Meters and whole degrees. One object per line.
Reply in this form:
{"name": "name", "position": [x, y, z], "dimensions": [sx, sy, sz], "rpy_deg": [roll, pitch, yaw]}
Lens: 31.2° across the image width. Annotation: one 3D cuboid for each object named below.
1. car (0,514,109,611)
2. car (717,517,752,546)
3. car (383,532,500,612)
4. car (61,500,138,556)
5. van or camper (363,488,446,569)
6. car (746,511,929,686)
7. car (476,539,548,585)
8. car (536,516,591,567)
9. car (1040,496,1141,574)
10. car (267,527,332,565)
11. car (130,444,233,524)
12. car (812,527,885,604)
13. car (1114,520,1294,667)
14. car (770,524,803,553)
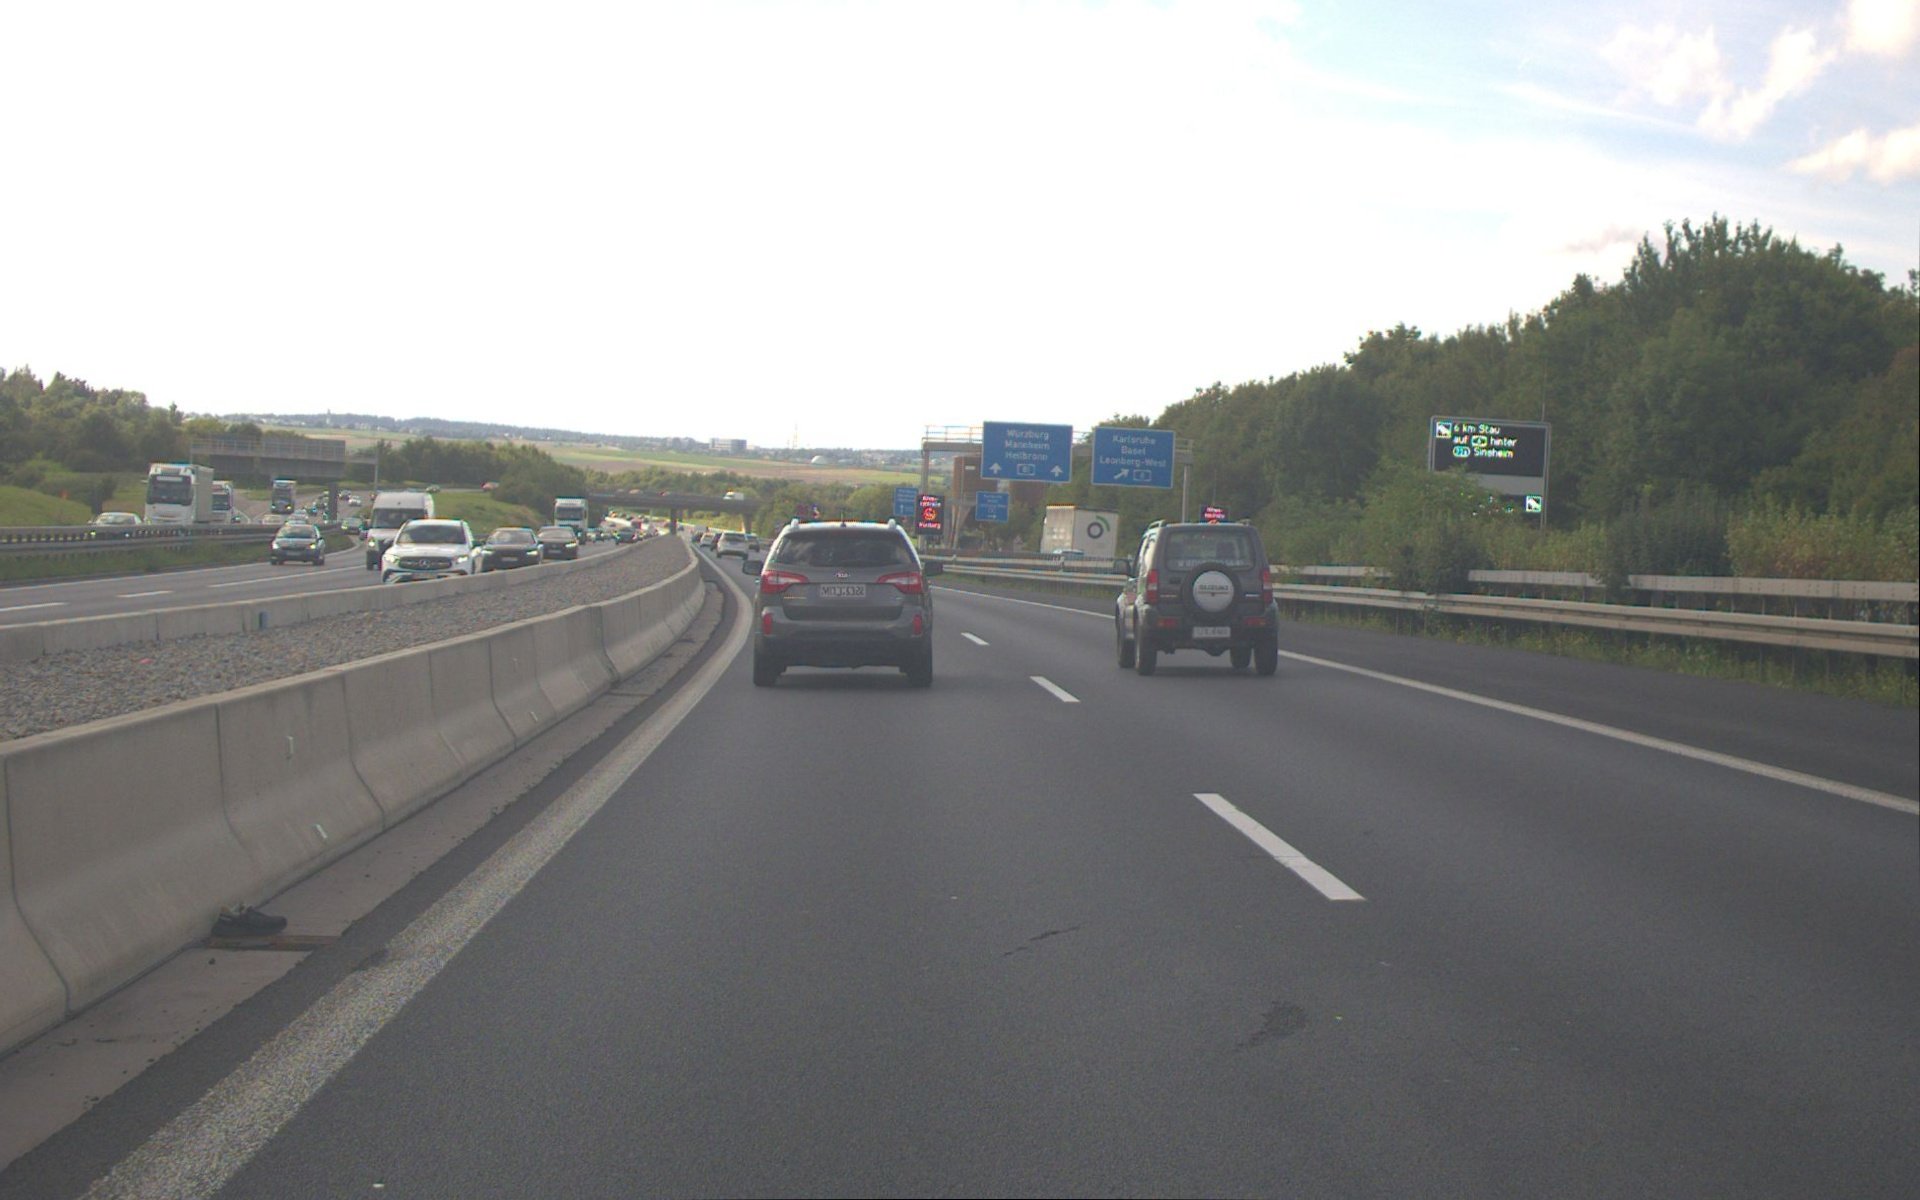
{"name": "car", "position": [-16.763, -0.708, 62.540], "dimensions": [1.725, 1.694, 4.153], "rpy_deg": [1, 1, -3]}
{"name": "car", "position": [-14.126, -4.289, 214.887], "dimensions": [1.993, 1.678, 4.001], "rpy_deg": [1, -1, -6]}
{"name": "car", "position": [-11.005, -0.612, 73.280], "dimensions": [1.842, 1.605, 5.136], "rpy_deg": [1, 1, -2]}
{"name": "car", "position": [-32.262, -2.713, 128.975], "dimensions": [1.993, 2.007, 4.273], "rpy_deg": [2, 1, -3]}
{"name": "van or camper", "position": [-18.787, -2.408, 116.465], "dimensions": [1.986, 2.615, 6.864], "rpy_deg": [1, 1, -3]}
{"name": "car", "position": [-1.318, -0.021, 37.170], "dimensions": [1.817, 1.730, 5.187], "rpy_deg": [1, 0, -2]}
{"name": "car", "position": [-14.552, -1.244, 111.938], "dimensions": [1.925, 1.430, 4.778], "rpy_deg": [1, 1, -3]}
{"name": "car", "position": [-16.530, -2.445, 143.494], "dimensions": [1.993, 2.007, 4.273], "rpy_deg": [2, 1, -3]}
{"name": "car", "position": [7.467, -3.729, 198.544], "dimensions": [4.728, 4.251, 11.406], "rpy_deg": [2, 1, -3]}
{"name": "car", "position": [-23.600, -1.930, 122.953], "dimensions": [1.626, 1.289, 4.756], "rpy_deg": [1, 1, -3]}
{"name": "car", "position": [-42.011, -6.173, 186.038], "dimensions": [3.816, 4.066, 14.833], "rpy_deg": [1, 1, -7]}
{"name": "car", "position": [-3.196, -1.006, 99.192], "dimensions": [2.030, 2.144, 4.000], "rpy_deg": [1, 1, -1]}
{"name": "car", "position": [2.775, -0.111, 39.824], "dimensions": [1.587, 1.591, 4.096], "rpy_deg": [1, 1, -2]}
{"name": "car", "position": [-12.271, -4.331, 242.360], "dimensions": [1.993, 1.922, 4.001], "rpy_deg": [1, -1, -7]}
